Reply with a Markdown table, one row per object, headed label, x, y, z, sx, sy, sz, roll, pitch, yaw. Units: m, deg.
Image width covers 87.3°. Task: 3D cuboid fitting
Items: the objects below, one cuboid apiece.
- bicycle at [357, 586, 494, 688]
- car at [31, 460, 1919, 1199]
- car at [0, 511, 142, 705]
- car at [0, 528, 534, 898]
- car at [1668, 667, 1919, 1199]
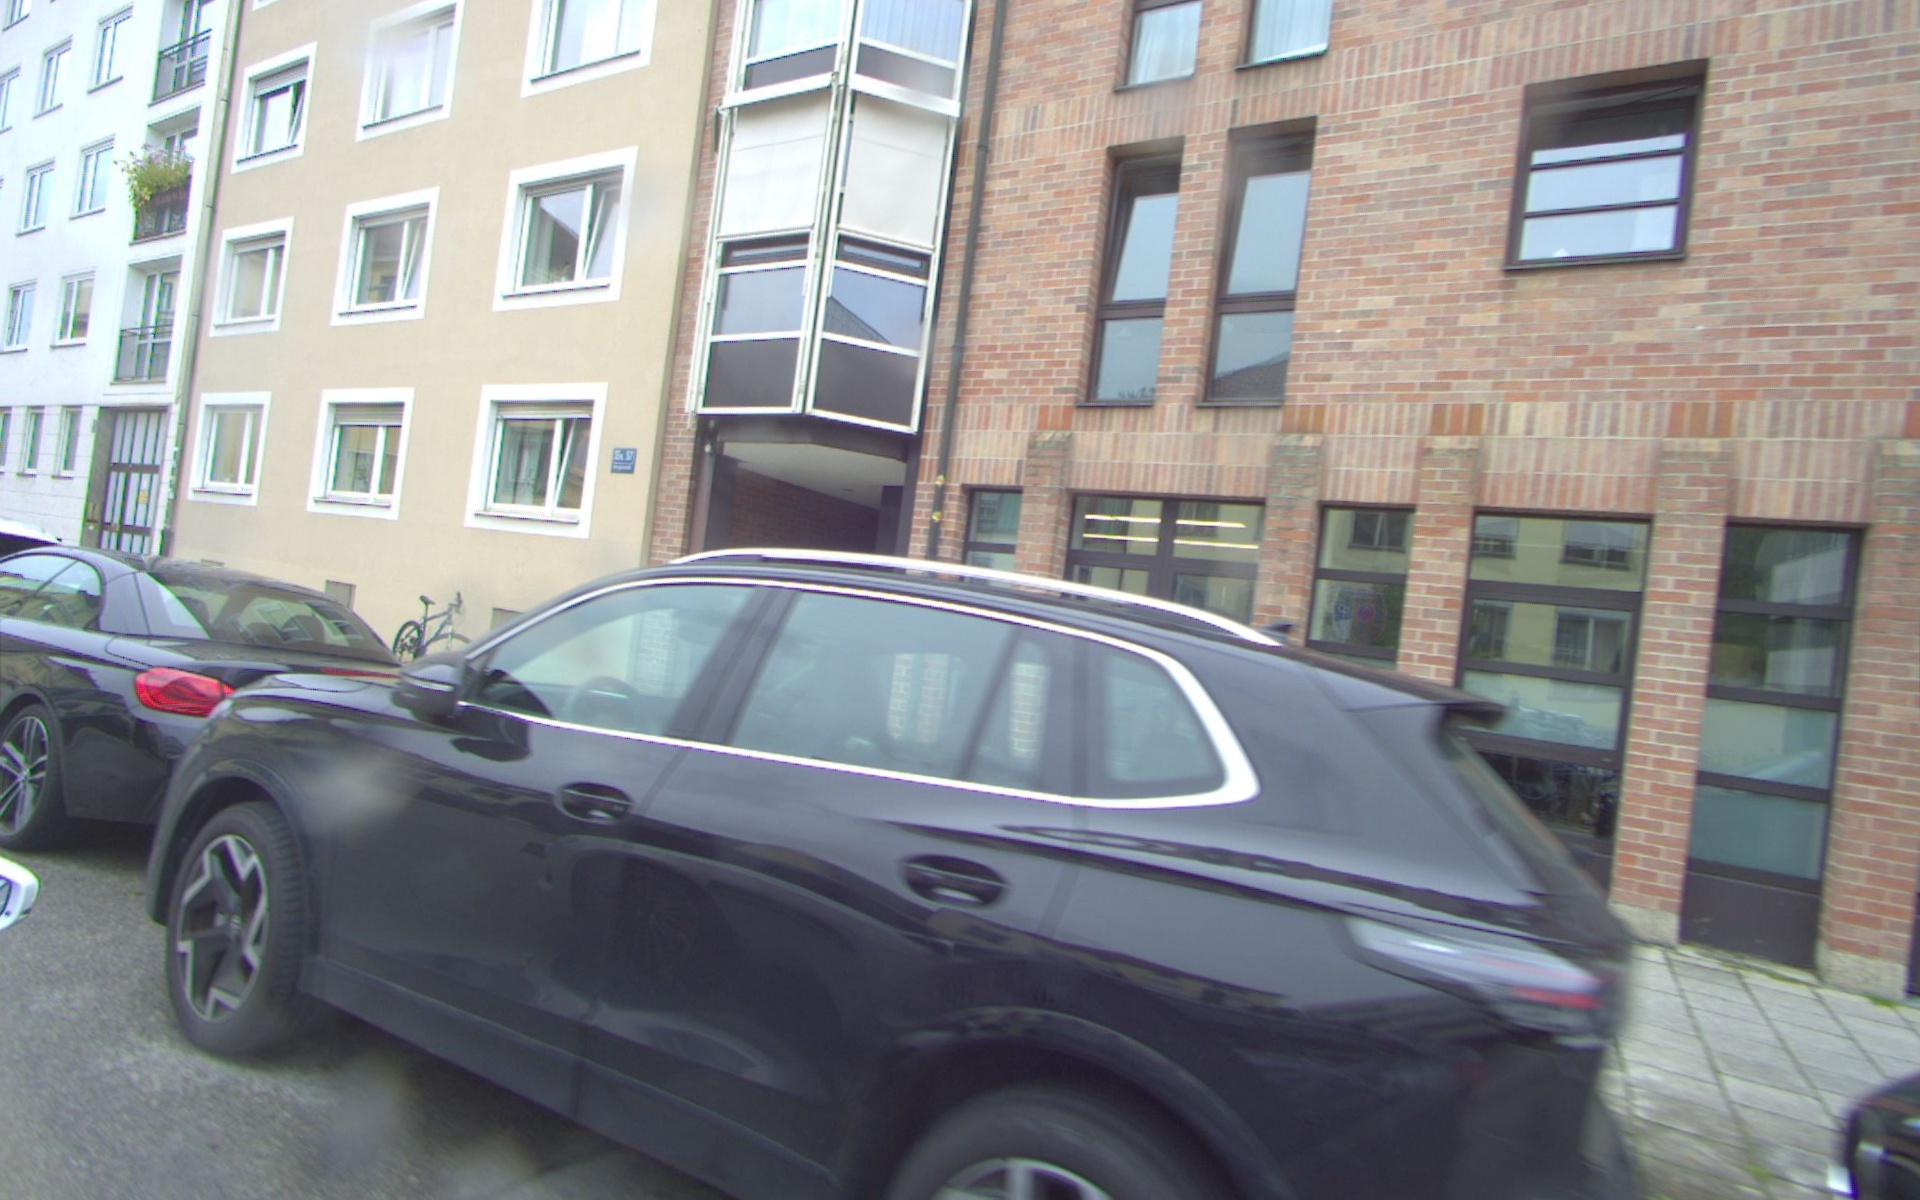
| label | x | y | z | sx | sy | sz | roll | pitch | yaw |
| --- | --- | --- | --- | --- | --- | --- | --- | --- | --- |
| bicycle | -6.734 | 0.458 | 12.655 | 1.724 | 1.045 | 0.677 | 7 | -1 | 33 |
| car | -0.523 | 0.690 | 3.105 | 4.563 | 1.664 | 1.883 | 7 | -2 | 28 |
| car | -9.395 | -0.187 | 8.770 | 4.930 | 1.430 | 1.858 | 7 | -2 | 31 |
| car | -4.923 | 0.414 | 5.921 | 4.699 | 1.378 | 1.765 | 6 | -6 | 29 |
| car | 3.563 | 1.174 | 0.952 | 4.431 | 1.609 | 1.882 | 7 | -1 | 30 |
